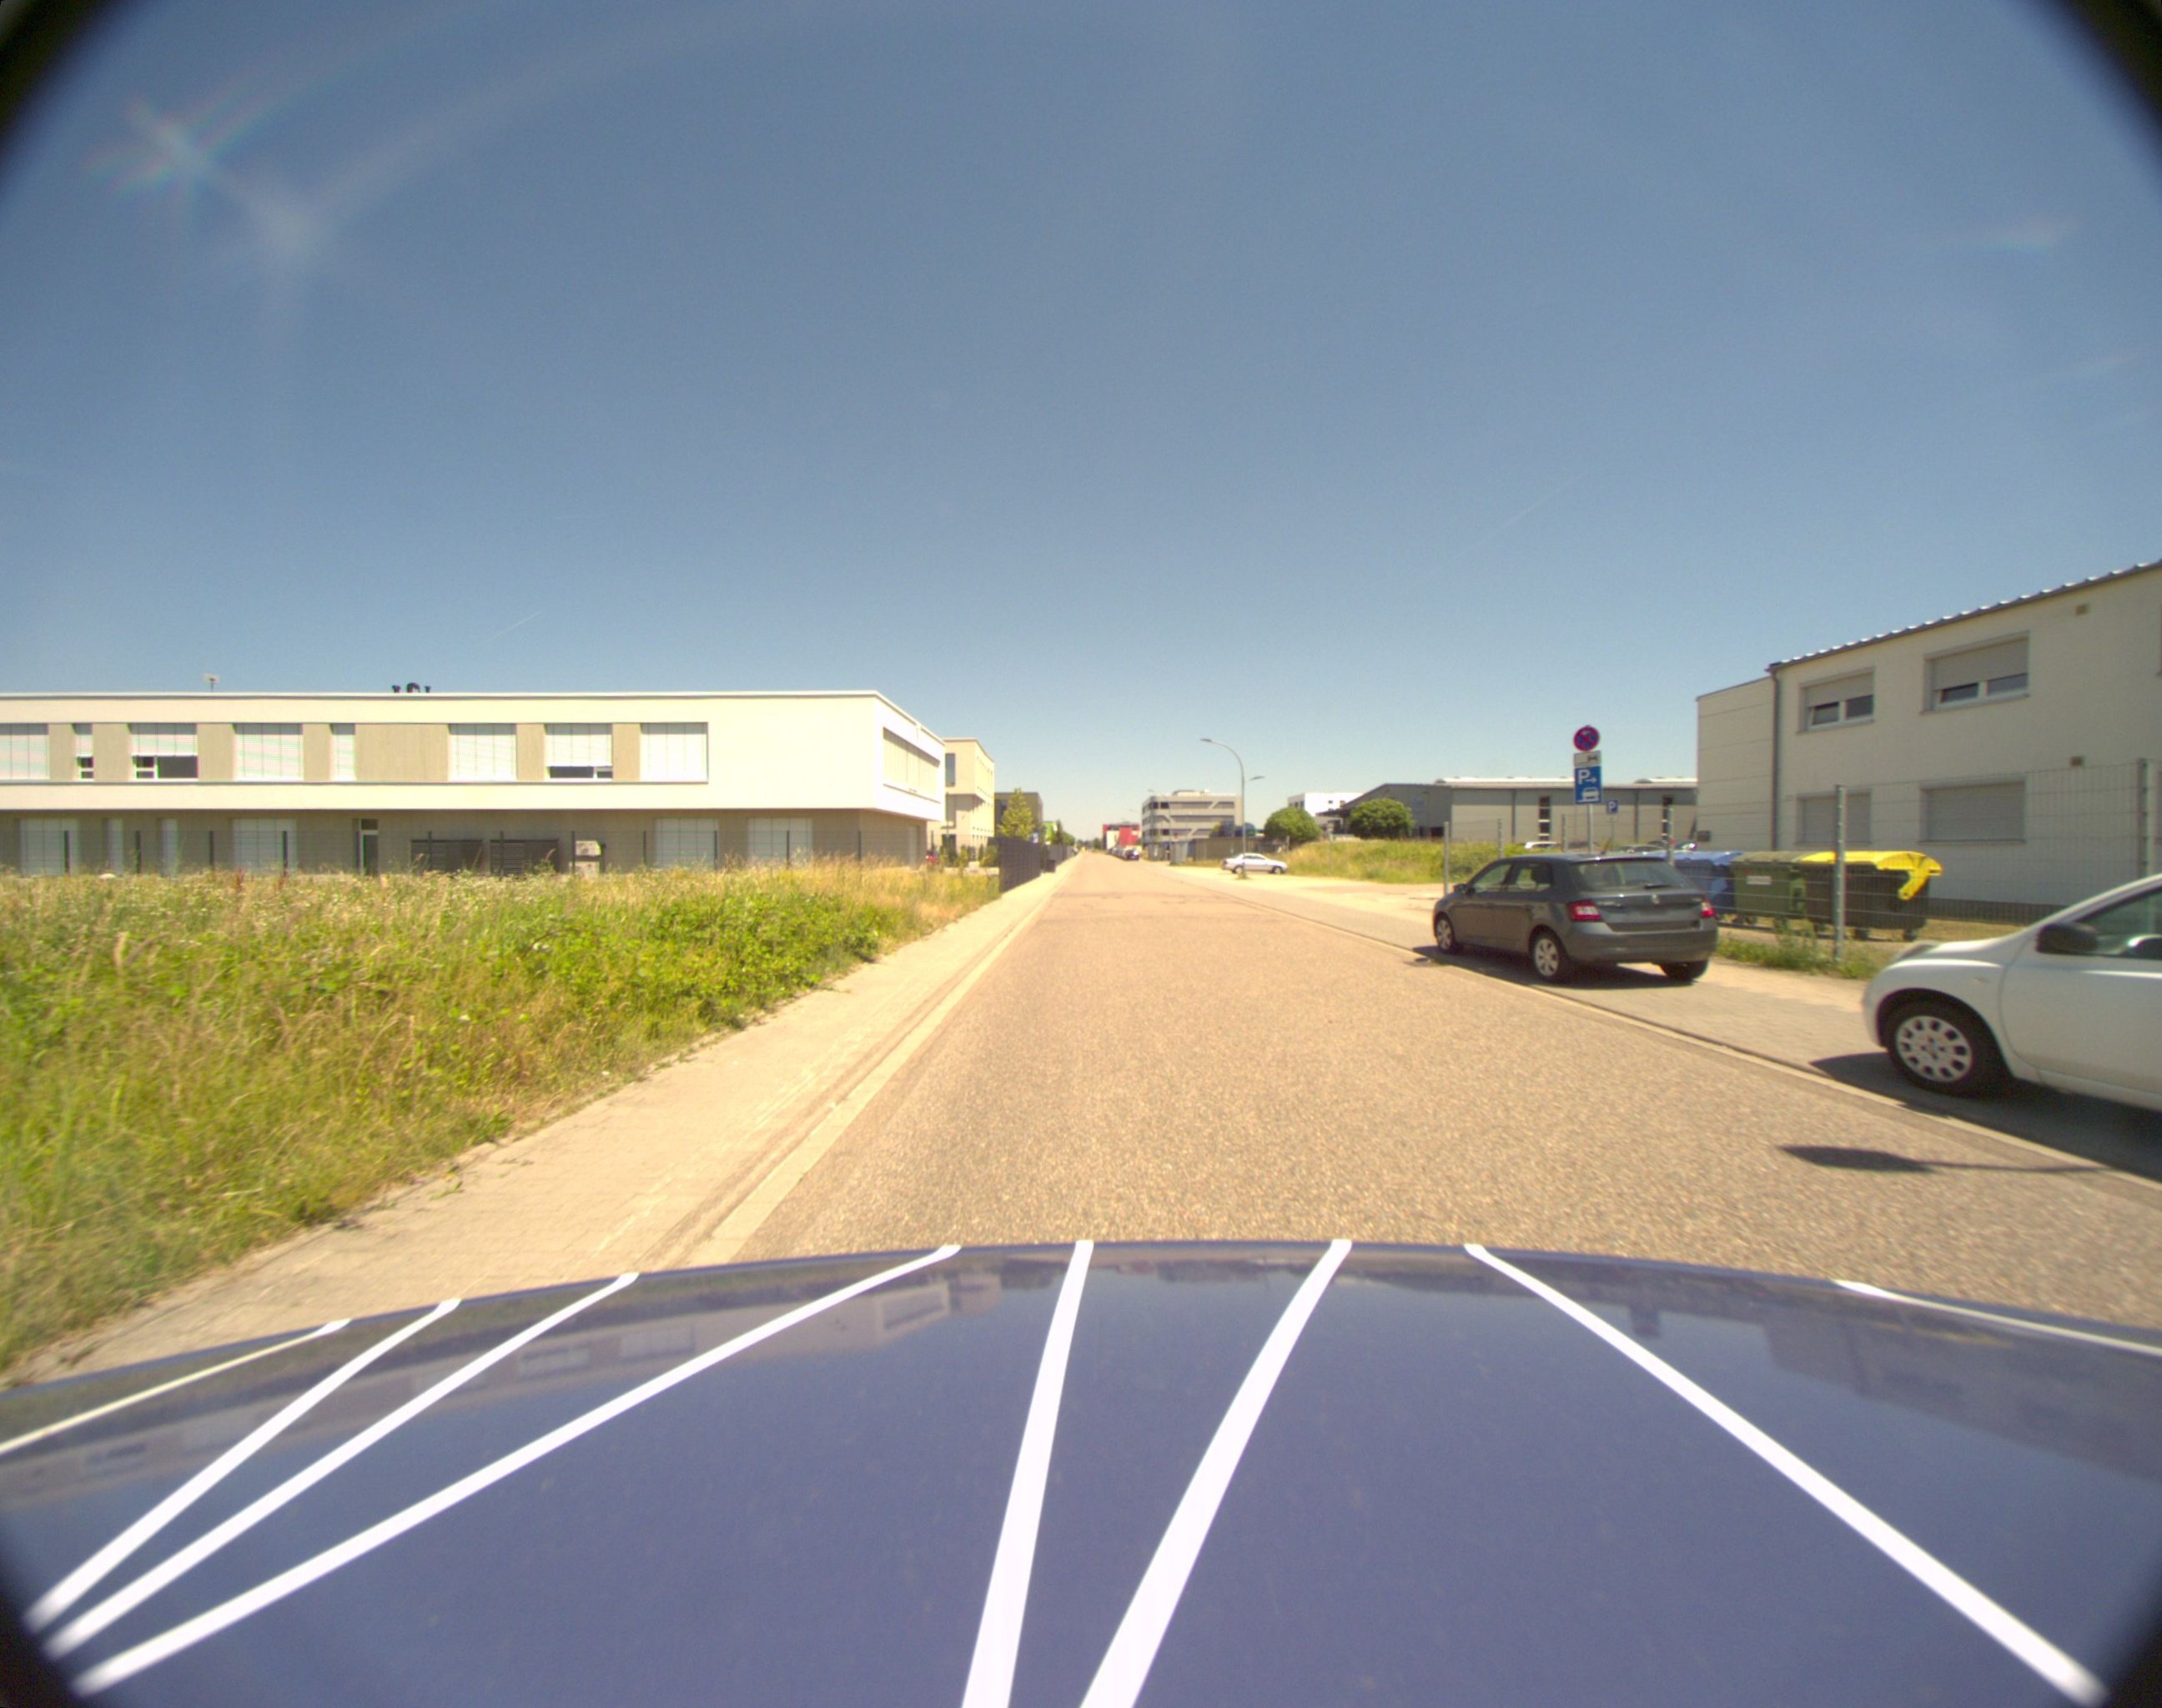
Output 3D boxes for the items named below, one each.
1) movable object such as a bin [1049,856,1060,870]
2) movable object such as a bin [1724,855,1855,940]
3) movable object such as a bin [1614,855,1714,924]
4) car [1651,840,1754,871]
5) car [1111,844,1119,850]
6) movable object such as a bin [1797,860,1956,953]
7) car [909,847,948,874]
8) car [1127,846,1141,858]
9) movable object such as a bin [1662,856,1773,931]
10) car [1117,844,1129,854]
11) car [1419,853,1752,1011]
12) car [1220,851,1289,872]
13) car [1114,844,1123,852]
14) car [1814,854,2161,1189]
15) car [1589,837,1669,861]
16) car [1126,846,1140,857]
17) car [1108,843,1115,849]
[{"bbox_3d":[-1.981,0.696,57.512,0.749,1.042,0.698,1,2,1],"label":"movable object such as a bin"},{"bbox_3d":[13.038,0.764,14.041,1.090,1.440,1.388,-1,1,-4],"label":"movable object such as a bin"},{"bbox_3d":[12.967,0.763,16.961,1.146,1.440,1.434,-1,1,3],"label":"movable object such as a bin"},{"bbox_3d":[31.895,0.045,39.070,3.889,1.390,1.738,-2,1,0],"label":"car"},{"bbox_3d":[8.265,-1.707,186.953,1.772,1.521,3.777,-2,1,1],"label":"car"},{"bbox_3d":[12.978,0.820,12.469,1.145,1.397,1.388,-1,1,3],"label":"movable object such as a bin"},{"bbox_3d":[-9.147,0.404,45.927,1.673,1.548,4.077,0,-1,-2],"label":"car"},{"bbox_3d":[7.274,-0.269,104.723,1.695,1.482,3.660,-2,1,1],"label":"car"},{"bbox_3d":[12.924,0.777,15.491,1.127,1.440,1.371,-1,1,3],"label":"movable object such as a bin"},{"bbox_3d":[6.915,-0.874,124.826,1.772,1.462,3.777,-3,1,1],"label":"car"},{"bbox_3d":[6.007,0.792,9.688,1.678,1.521,3.909,-1,1,1],"label":"car"},{"bbox_3d":[11.794,0.526,51.826,4.257,1.371,1.862,0,1,2],"label":"car"},{"bbox_3d":[8.147,-1.338,166.910,1.772,1.521,3.777,-2,1,1],"label":"car"},{"bbox_3d":[5.954,0.814,3.438,1.678,1.521,3.757,-1,1,1],"label":"car"},{"bbox_3d":[35.351,-0.344,49.050,3.889,1.390,1.738,-2,1,0],"label":"car"},{"bbox_3d":[7.574,-0.391,110.844,1.772,1.521,3.777,-2,1,1],"label":"car"},{"bbox_3d":[8.579,-2.218,214.383,1.772,1.521,3.777,-2,1,1],"label":"car"}]
